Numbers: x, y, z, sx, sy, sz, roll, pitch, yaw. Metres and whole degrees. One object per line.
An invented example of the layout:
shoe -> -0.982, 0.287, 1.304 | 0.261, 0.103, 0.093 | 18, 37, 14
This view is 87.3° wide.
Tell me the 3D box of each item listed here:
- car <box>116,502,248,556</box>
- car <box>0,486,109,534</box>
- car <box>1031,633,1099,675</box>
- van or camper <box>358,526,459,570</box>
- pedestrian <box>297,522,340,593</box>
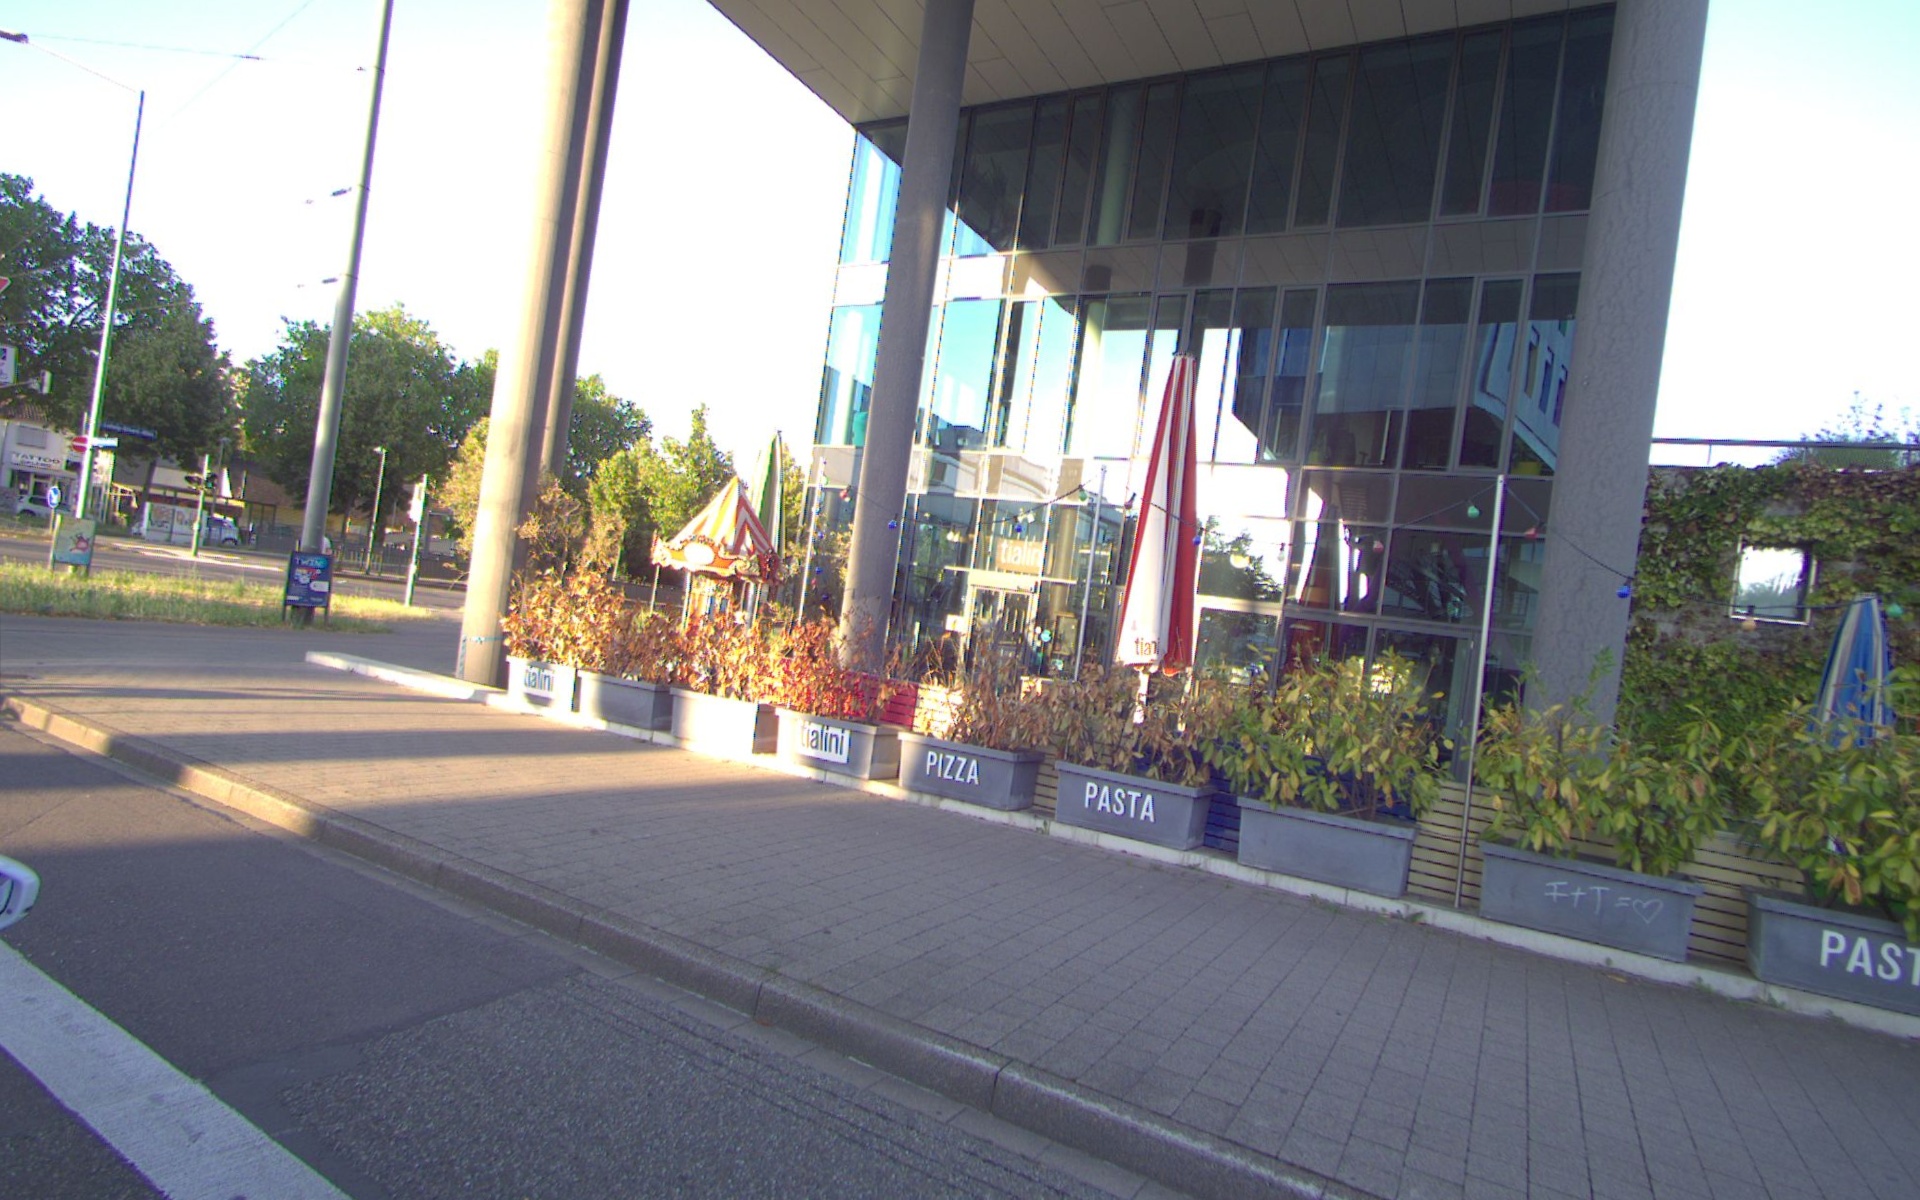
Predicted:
car -> -37.309, -3.386, 48.392 | 1.829, 1.748, 4.547 | 7, -2, 27
car -> -50.541, -4.974, 56.068 | 1.968, 1.868, 4.236 | 7, -2, 34
car -> 5.867, 3.026, 55.846 | 1.826, 1.849, 4.390 | 10, 0, 31
van or camper -> -43.985, -4.129, 80.427 | 2.229, 2.437, 6.569 | 7, -2, 36
pedestrian -> -17.448, -1.162, 27.368 | 0.757, 1.812, 0.795 | 9, -1, -35
